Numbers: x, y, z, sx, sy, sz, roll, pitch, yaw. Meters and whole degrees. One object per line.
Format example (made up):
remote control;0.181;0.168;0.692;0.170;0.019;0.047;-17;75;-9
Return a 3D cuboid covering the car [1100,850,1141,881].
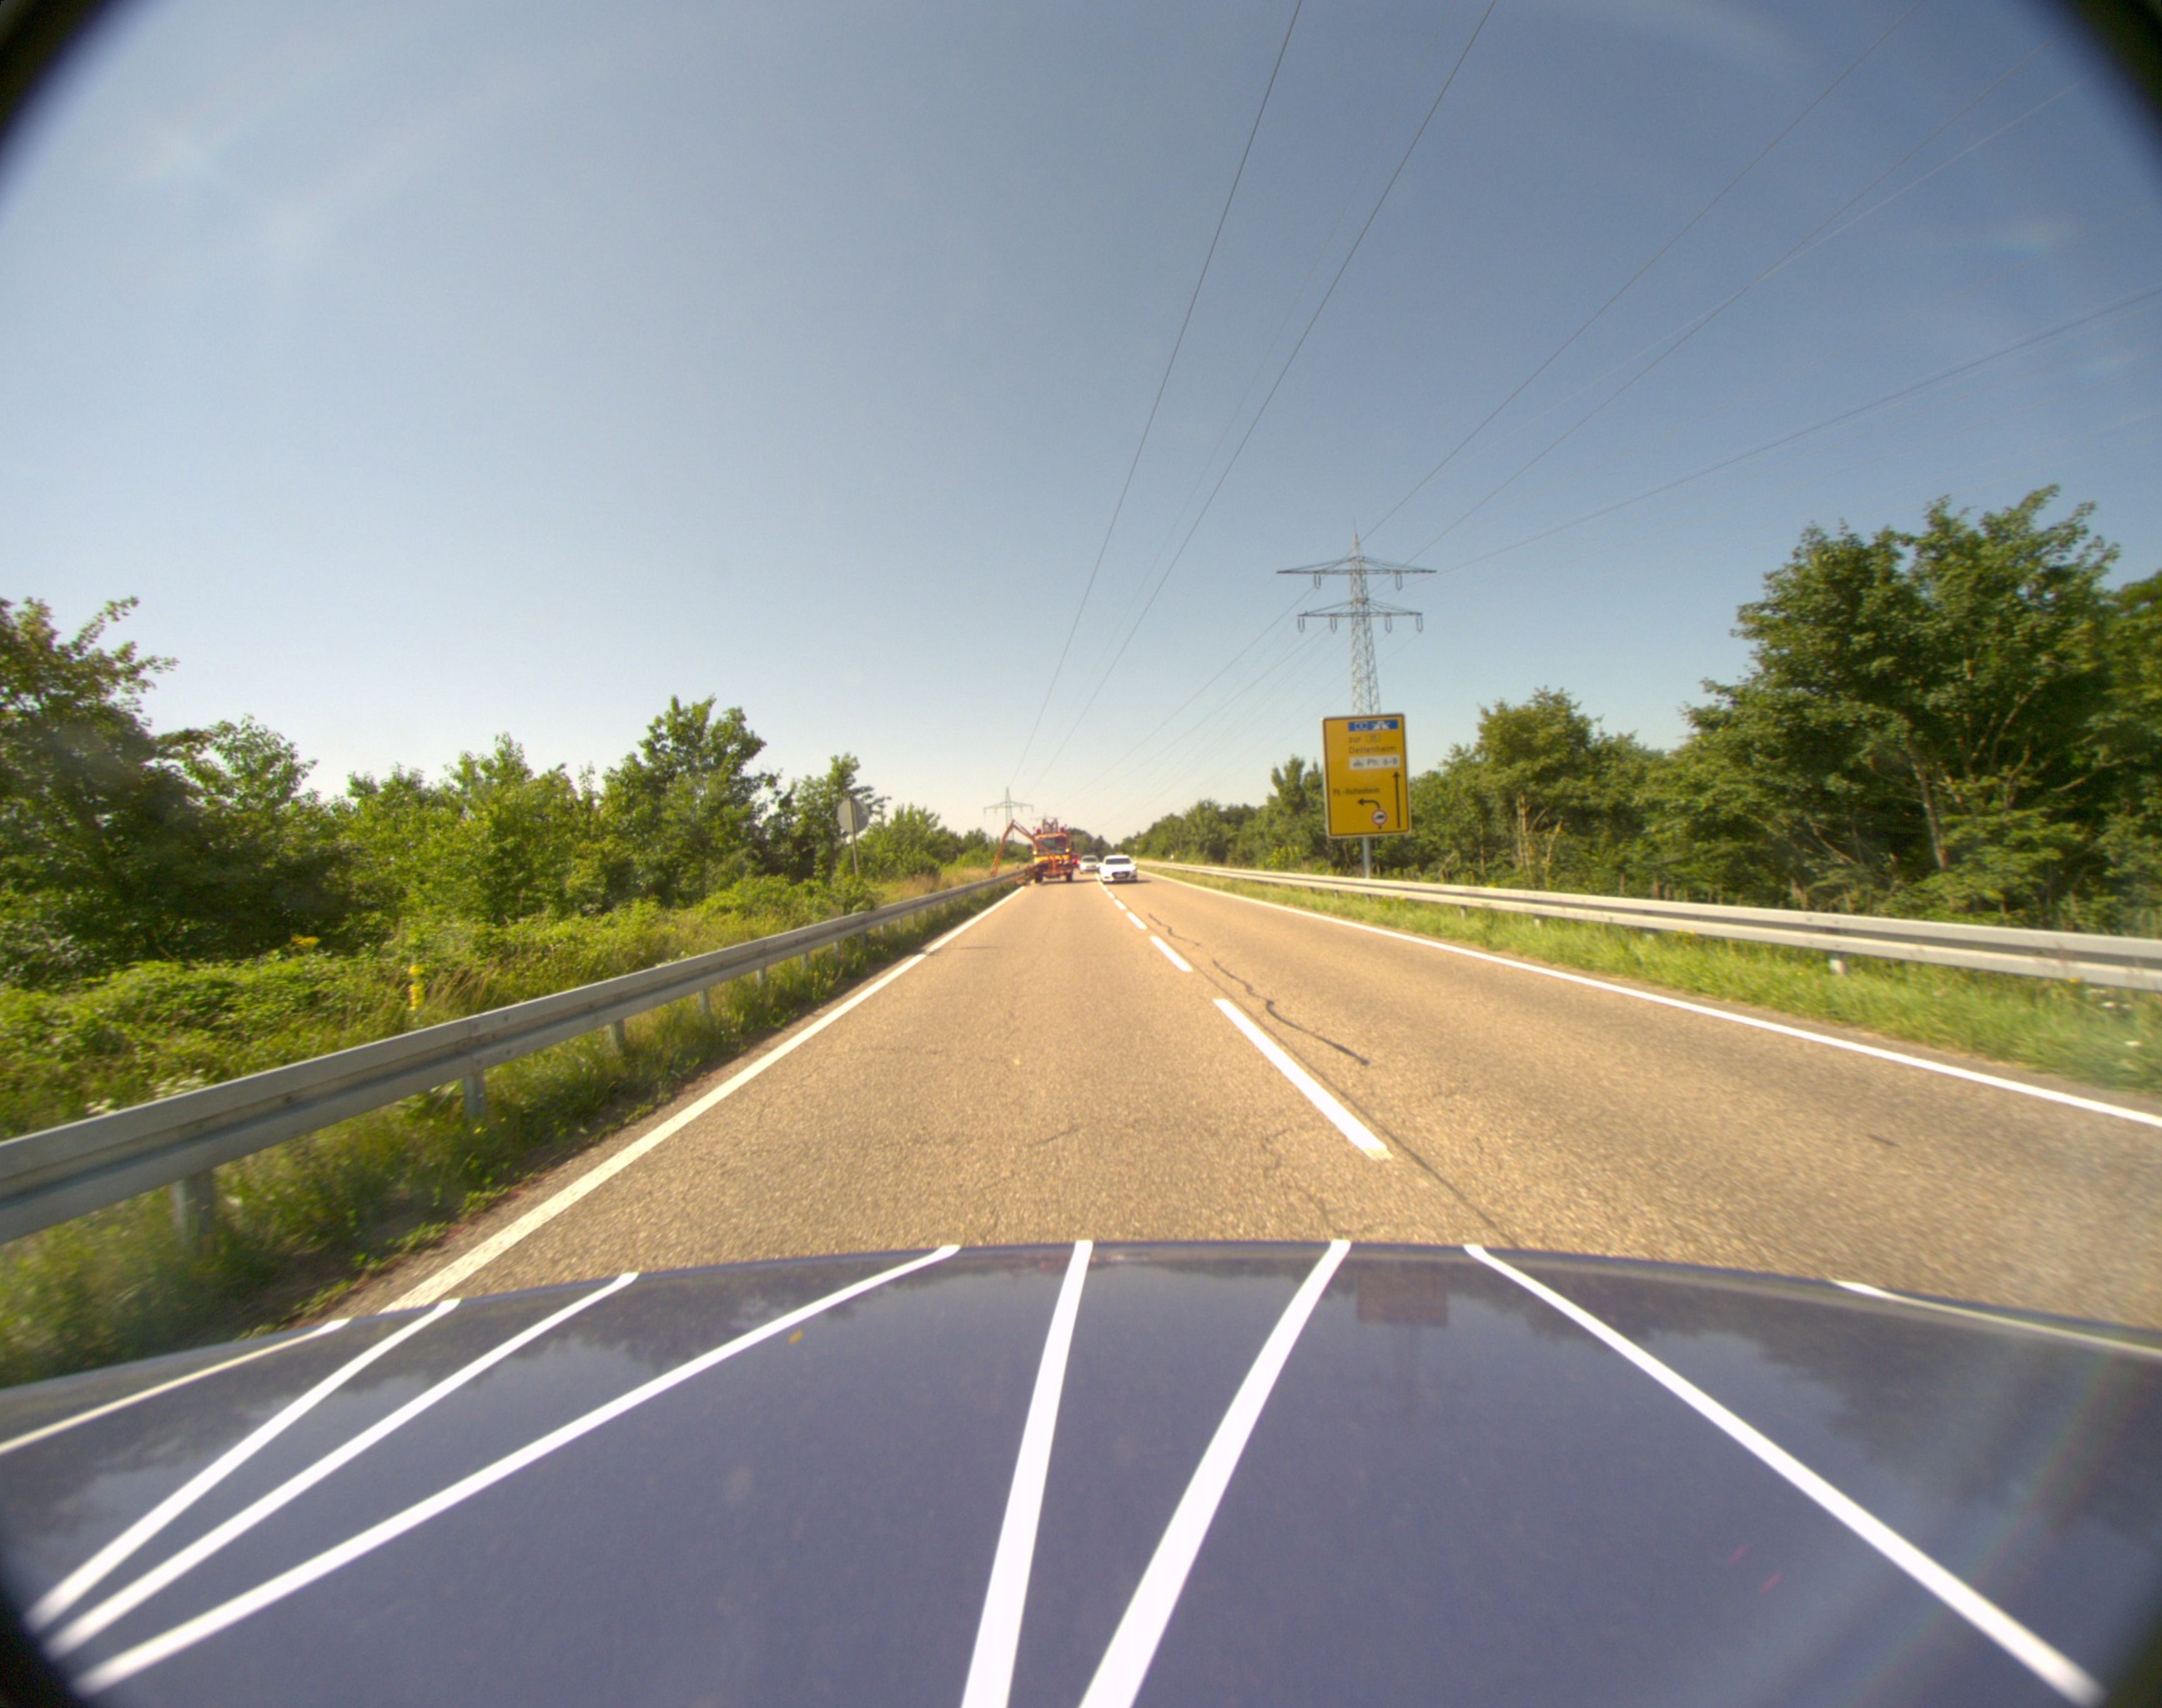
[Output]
car;2.074;0.607;40.982;1.923;1.496;4.793;-2;0;0

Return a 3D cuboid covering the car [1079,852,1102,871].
car;0.798;0.623;66.247;1.923;1.540;4.793;-2;0;0

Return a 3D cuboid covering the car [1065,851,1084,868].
car;-0.816;0.624;91.381;2.126;1.934;5.018;-2;0;-2

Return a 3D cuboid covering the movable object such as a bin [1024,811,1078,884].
movable object such as a bin;-1.683;-0.344;45.910;2.760;3.817;9.444;-2;0;-1
